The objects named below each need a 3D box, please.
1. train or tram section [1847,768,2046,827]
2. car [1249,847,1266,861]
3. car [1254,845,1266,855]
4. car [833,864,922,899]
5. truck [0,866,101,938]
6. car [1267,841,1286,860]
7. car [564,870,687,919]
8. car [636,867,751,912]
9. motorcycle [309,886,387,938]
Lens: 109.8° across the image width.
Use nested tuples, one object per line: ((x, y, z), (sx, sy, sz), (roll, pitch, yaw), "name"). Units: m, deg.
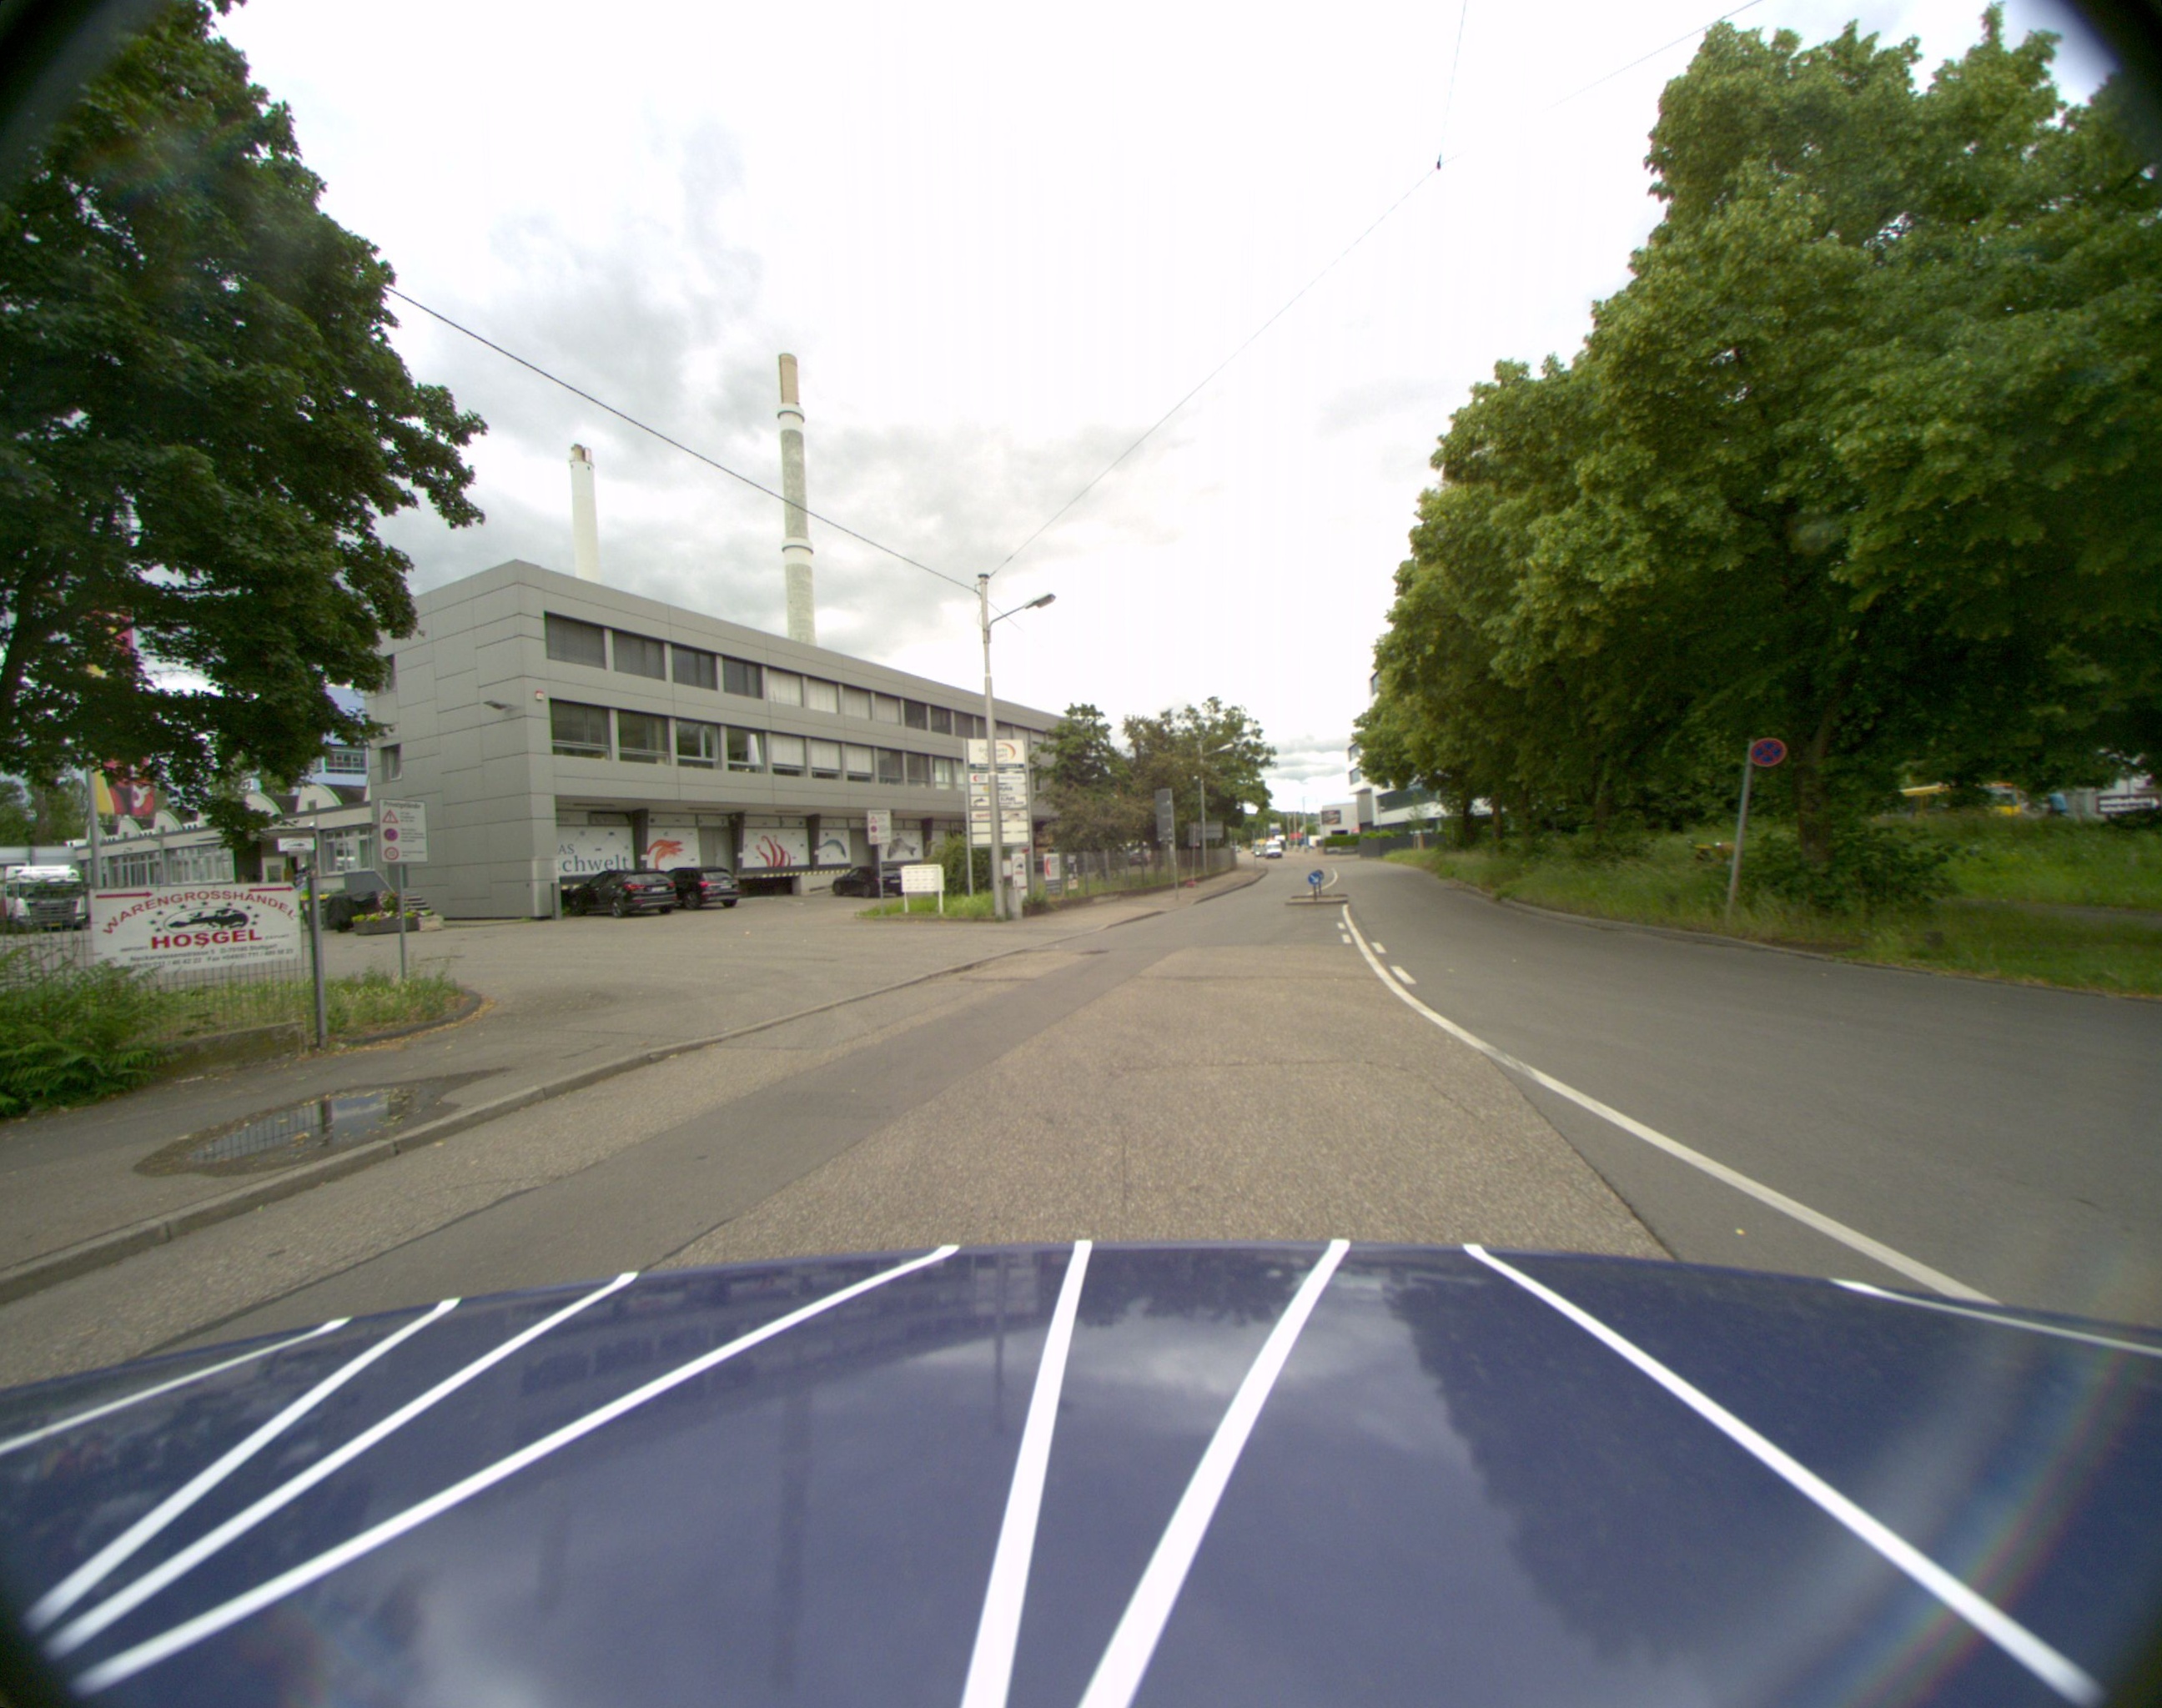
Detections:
((67.348, -4.122, 60.171), (3.270, 3.644, 19.205), (-3, 0, 26), "train or tram section")
((27.681, -0.012, 118.893), (2.385, 1.859, 5.211), (-4, 0, 14), "car")
((38.968, -0.837, 165.708), (2.385, 1.859, 5.211), (-4, 0, 14), "car")
((-9.822, 1.260, 36.469), (2.054, 1.437, 4.815), (-3, 2, -43), "car")
((-66.038, 3.072, 47.655), (15.811, 4.001, 2.878), (-3, 0, 28), "truck")
((27.285, -0.522, 106.311), (2.385, 2.444, 6.106), (-4, 0, 14), "car")
((-16.582, 1.439, 27.617), (4.453, 1.608, 1.842), (-1, 1, 30), "car")
((-15.392, 1.386, 30.112), (4.412, 1.608, 1.842), (-1, 1, 29), "car")
((-26.130, 2.021, 27.159), (1.198, 1.645, 2.888), (-3, 0, -28), "motorcycle")
